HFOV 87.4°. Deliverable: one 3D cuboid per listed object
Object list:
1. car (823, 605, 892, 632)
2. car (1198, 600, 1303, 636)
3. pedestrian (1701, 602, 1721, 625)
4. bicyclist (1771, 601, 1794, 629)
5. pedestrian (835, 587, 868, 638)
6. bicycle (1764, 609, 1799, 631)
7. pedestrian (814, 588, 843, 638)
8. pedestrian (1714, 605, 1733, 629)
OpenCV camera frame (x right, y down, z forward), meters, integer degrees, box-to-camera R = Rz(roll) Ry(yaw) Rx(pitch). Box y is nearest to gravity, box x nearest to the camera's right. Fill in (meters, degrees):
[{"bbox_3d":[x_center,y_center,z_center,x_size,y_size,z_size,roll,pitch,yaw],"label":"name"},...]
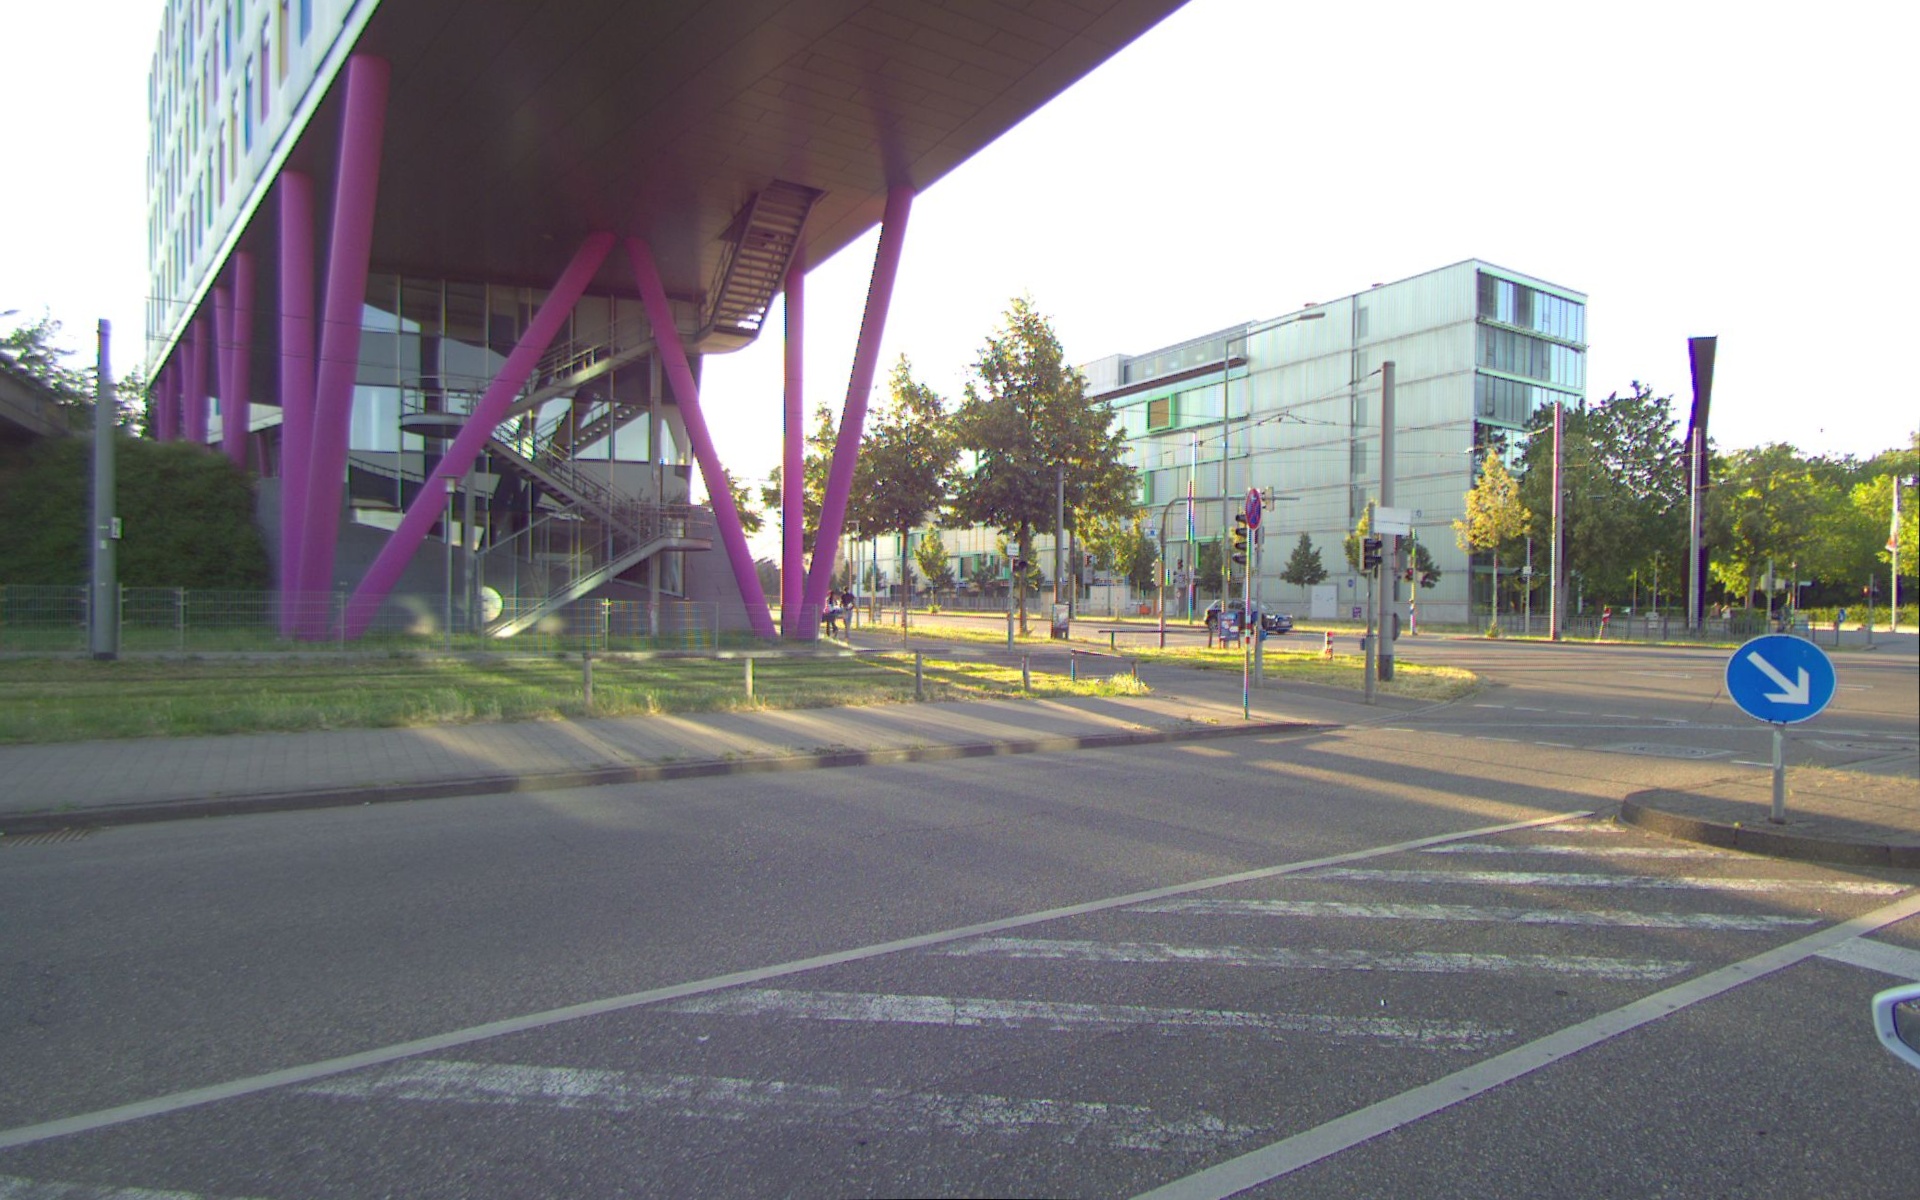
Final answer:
[{"bbox_3d":[-6.494,1.137,63.147,1.971,1.531,4.967,1,0,-39],"label":"car"},{"bbox_3d":[13.297,0.796,46.192,1.968,1.577,4.448,1,0,-34],"label":"car"},{"bbox_3d":[57.568,1.038,77.016,0.814,1.767,0.862,1,0,-3],"label":"pedestrian"},{"bbox_3d":[50.965,0.906,62.258,0.738,1.732,0.920,1,0,16],"label":"bicyclist"},{"bbox_3d":[-3.815,0.457,35.354,0.921,1.747,0.877,1,-2,-26],"label":"pedestrian"},{"bbox_3d":[51.030,1.227,62.408,0.717,1.359,2.691,1,0,17],"label":"bicycle"},{"bbox_3d":[-4.602,0.461,35.074,0.754,1.727,0.881,1,-2,-28],"label":"pedestrian"},{"bbox_3d":[58.486,1.311,76.947,0.814,1.767,0.863,1,0,1],"label":"pedestrian"}]
